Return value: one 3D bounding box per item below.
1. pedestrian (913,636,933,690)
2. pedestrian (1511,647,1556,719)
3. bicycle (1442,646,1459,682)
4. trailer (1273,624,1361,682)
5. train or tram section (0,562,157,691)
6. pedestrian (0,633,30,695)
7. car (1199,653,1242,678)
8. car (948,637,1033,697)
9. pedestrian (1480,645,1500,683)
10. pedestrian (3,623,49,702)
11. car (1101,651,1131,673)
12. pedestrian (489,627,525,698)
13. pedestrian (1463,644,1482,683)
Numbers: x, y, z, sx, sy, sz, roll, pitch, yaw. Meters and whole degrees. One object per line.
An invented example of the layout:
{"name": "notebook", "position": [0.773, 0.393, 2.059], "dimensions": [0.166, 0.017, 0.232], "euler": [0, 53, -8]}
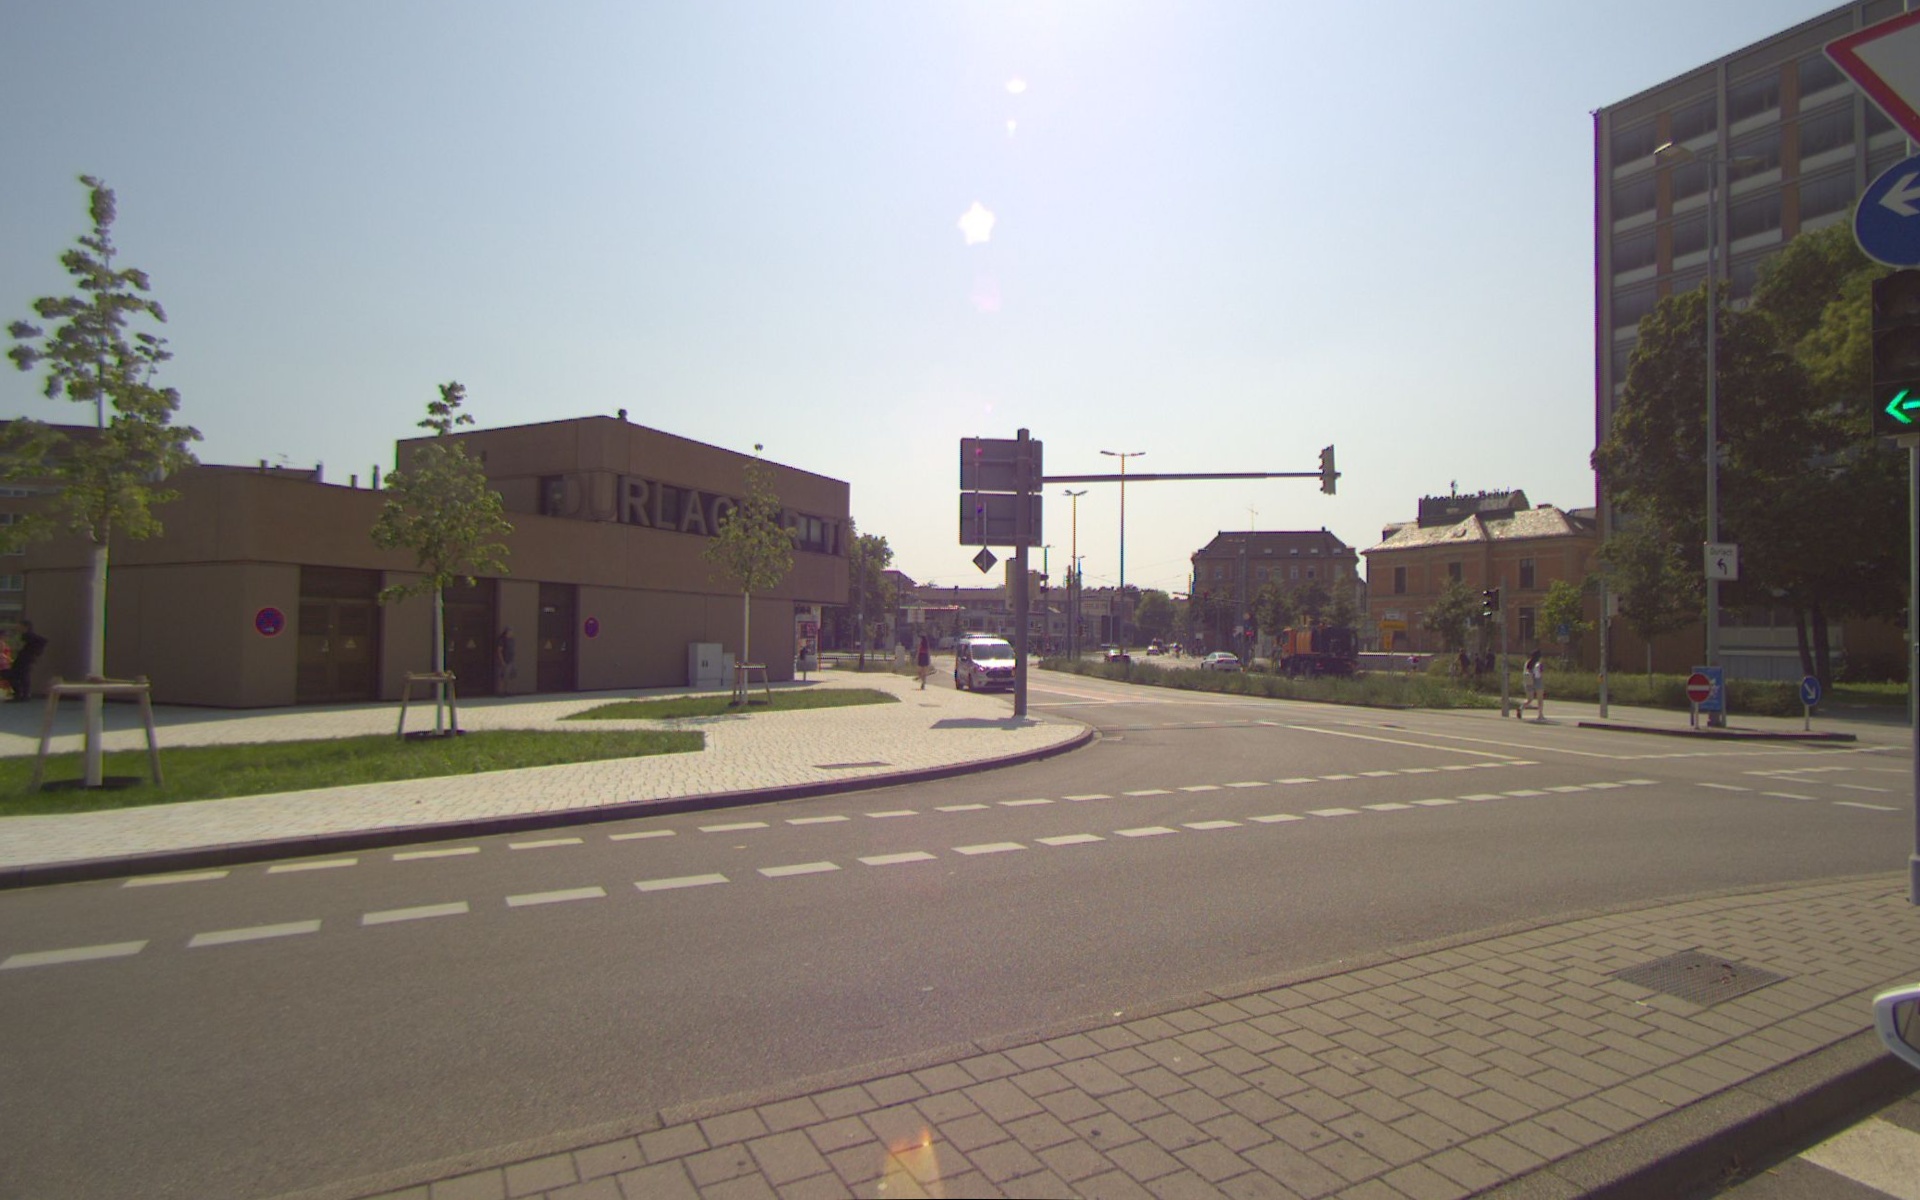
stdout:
{"name": "pedestrian", "position": [-1.194, 2.022, 32.540], "dimensions": [0.616, 1.725, 0.787], "euler": [1, -2, -3]}
{"name": "pedestrian", "position": [13.843, 1.997, 24.248], "dimensions": [0.688, 1.717, 0.606], "euler": [1, -2, -12]}
{"name": "bicycle", "position": [25.759, 3.351, 52.744], "dimensions": [0.447, 1.884, 1.364], "euler": [0, -2, 11]}
{"name": "trailer", "position": [20.420, 2.998, 57.761], "dimensions": [2.423, 3.047, 6.324], "euler": [3, -2, -3]}
{"name": "train or tram section", "position": [-28.480, 0.787, 28.639], "dimensions": [3.086, 3.616, 8.238], "euler": [-2, -2, 25]}
{"name": "pedestrian", "position": [-22.330, 1.498, 23.480], "dimensions": [0.436, 1.429, 0.744], "euler": [-1, -2, 30]}
{"name": "car", "position": [17.395, 4.368, 67.252], "dimensions": [1.729, 1.474, 4.427], "euler": [2, -2, 0]}
{"name": "car", "position": [0.971, 2.236, 34.675], "dimensions": [1.965, 1.884, 4.325], "euler": [-1, -2, -12]}
{"name": "pedestrian", "position": [28.115, 3.402, 53.290], "dimensions": [0.764, 1.999, 0.754], "euler": [0, -2, 14]}
{"name": "pedestrian", "position": [-20.485, 1.361, 22.030], "dimensions": [0.435, 1.700, 0.568], "euler": [0, -2, 26]}
{"name": "car", "position": [11.251, 4.442, 72.503], "dimensions": [1.728, 1.422, 3.983], "euler": [2, -2, 4]}
{"name": "pedestrian", "position": [-10.938, 1.498, 24.275], "dimensions": [0.558, 1.700, 0.535], "euler": [0, -2, 25]}
{"name": "pedestrian", "position": [26.851, 3.337, 52.633], "dimensions": [0.764, 1.999, 0.754], "euler": [0, -2, 14]}
